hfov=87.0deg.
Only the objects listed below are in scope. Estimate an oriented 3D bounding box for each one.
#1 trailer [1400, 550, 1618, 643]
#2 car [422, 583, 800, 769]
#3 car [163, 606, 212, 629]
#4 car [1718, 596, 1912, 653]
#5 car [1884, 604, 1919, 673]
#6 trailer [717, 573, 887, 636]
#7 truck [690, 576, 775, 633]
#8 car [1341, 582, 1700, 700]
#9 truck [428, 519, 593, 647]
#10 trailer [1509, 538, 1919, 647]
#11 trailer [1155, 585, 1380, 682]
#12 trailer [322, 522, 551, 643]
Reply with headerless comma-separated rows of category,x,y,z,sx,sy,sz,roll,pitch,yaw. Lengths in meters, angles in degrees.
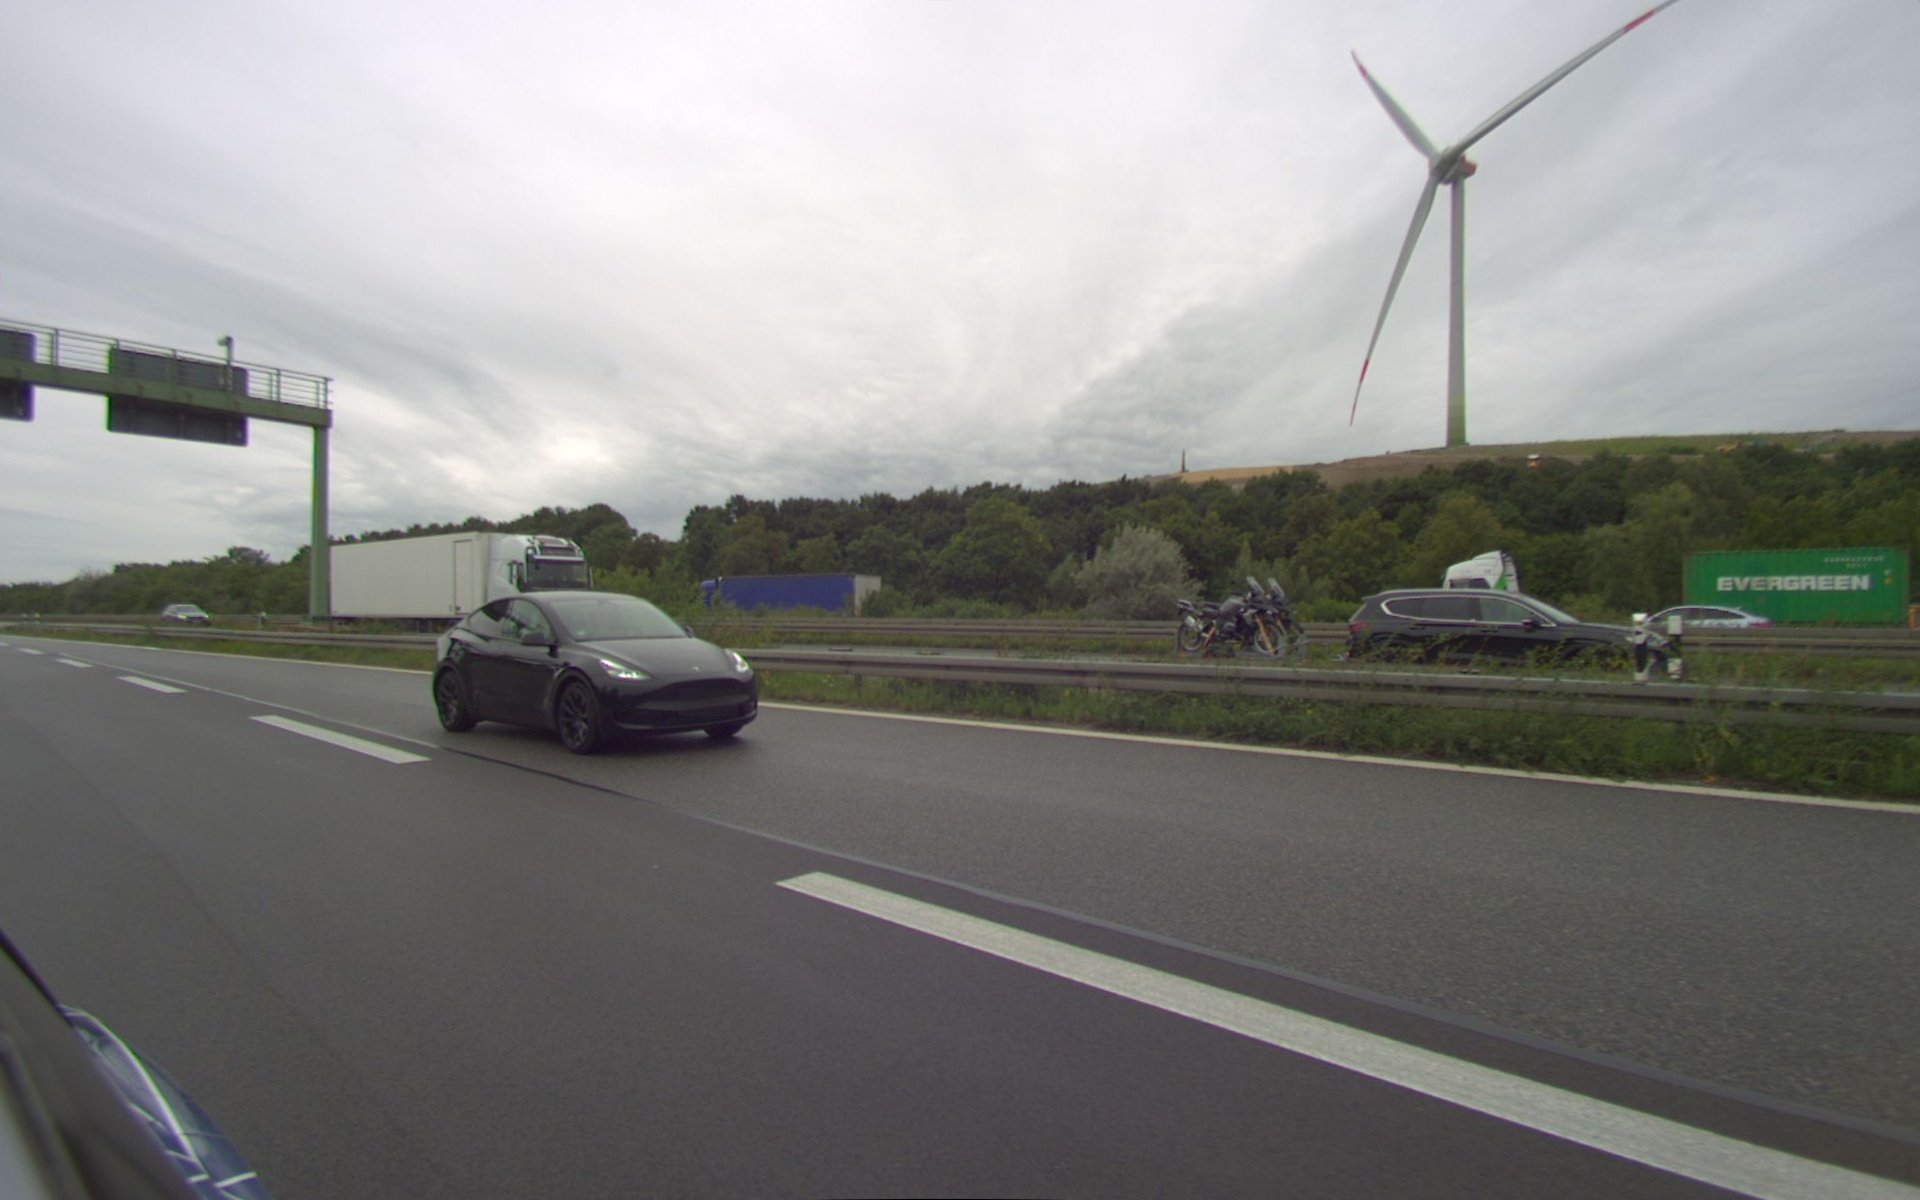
trailer,21.893,-0.097,40.563,7.264,3.429,2.930,-1,-1,39
car,-4.010,0.665,11.217,4.551,1.650,1.941,0,1,41
car,-56.867,1.261,74.455,4.480,1.663,1.880,-1,-1,39
car,26.814,0.720,31.903,4.551,1.650,1.941,0,1,41
car,34.876,1.317,35.133,3.996,2.394,2.002,-1,0,39
trailer,-10.930,0.342,68.258,13.508,3.955,2.931,-1,-1,38
truck,-16.342,0.340,72.534,5.890,3.955,2.931,-1,-1,38
car,8.863,0.556,16.269,4.803,1.638,1.863,0,1,40
truck,-16.106,-0.535,36.123,6.438,4.166,2.739,-1,0,39
trailer,26.751,-0.183,36.604,11.791,3.429,2.930,-1,-1,39
trailer,5.699,0.554,18.919,3.608,1.638,1.863,0,1,40
trailer,-21.177,-0.535,40.206,13.936,4.166,2.739,-1,0,39
